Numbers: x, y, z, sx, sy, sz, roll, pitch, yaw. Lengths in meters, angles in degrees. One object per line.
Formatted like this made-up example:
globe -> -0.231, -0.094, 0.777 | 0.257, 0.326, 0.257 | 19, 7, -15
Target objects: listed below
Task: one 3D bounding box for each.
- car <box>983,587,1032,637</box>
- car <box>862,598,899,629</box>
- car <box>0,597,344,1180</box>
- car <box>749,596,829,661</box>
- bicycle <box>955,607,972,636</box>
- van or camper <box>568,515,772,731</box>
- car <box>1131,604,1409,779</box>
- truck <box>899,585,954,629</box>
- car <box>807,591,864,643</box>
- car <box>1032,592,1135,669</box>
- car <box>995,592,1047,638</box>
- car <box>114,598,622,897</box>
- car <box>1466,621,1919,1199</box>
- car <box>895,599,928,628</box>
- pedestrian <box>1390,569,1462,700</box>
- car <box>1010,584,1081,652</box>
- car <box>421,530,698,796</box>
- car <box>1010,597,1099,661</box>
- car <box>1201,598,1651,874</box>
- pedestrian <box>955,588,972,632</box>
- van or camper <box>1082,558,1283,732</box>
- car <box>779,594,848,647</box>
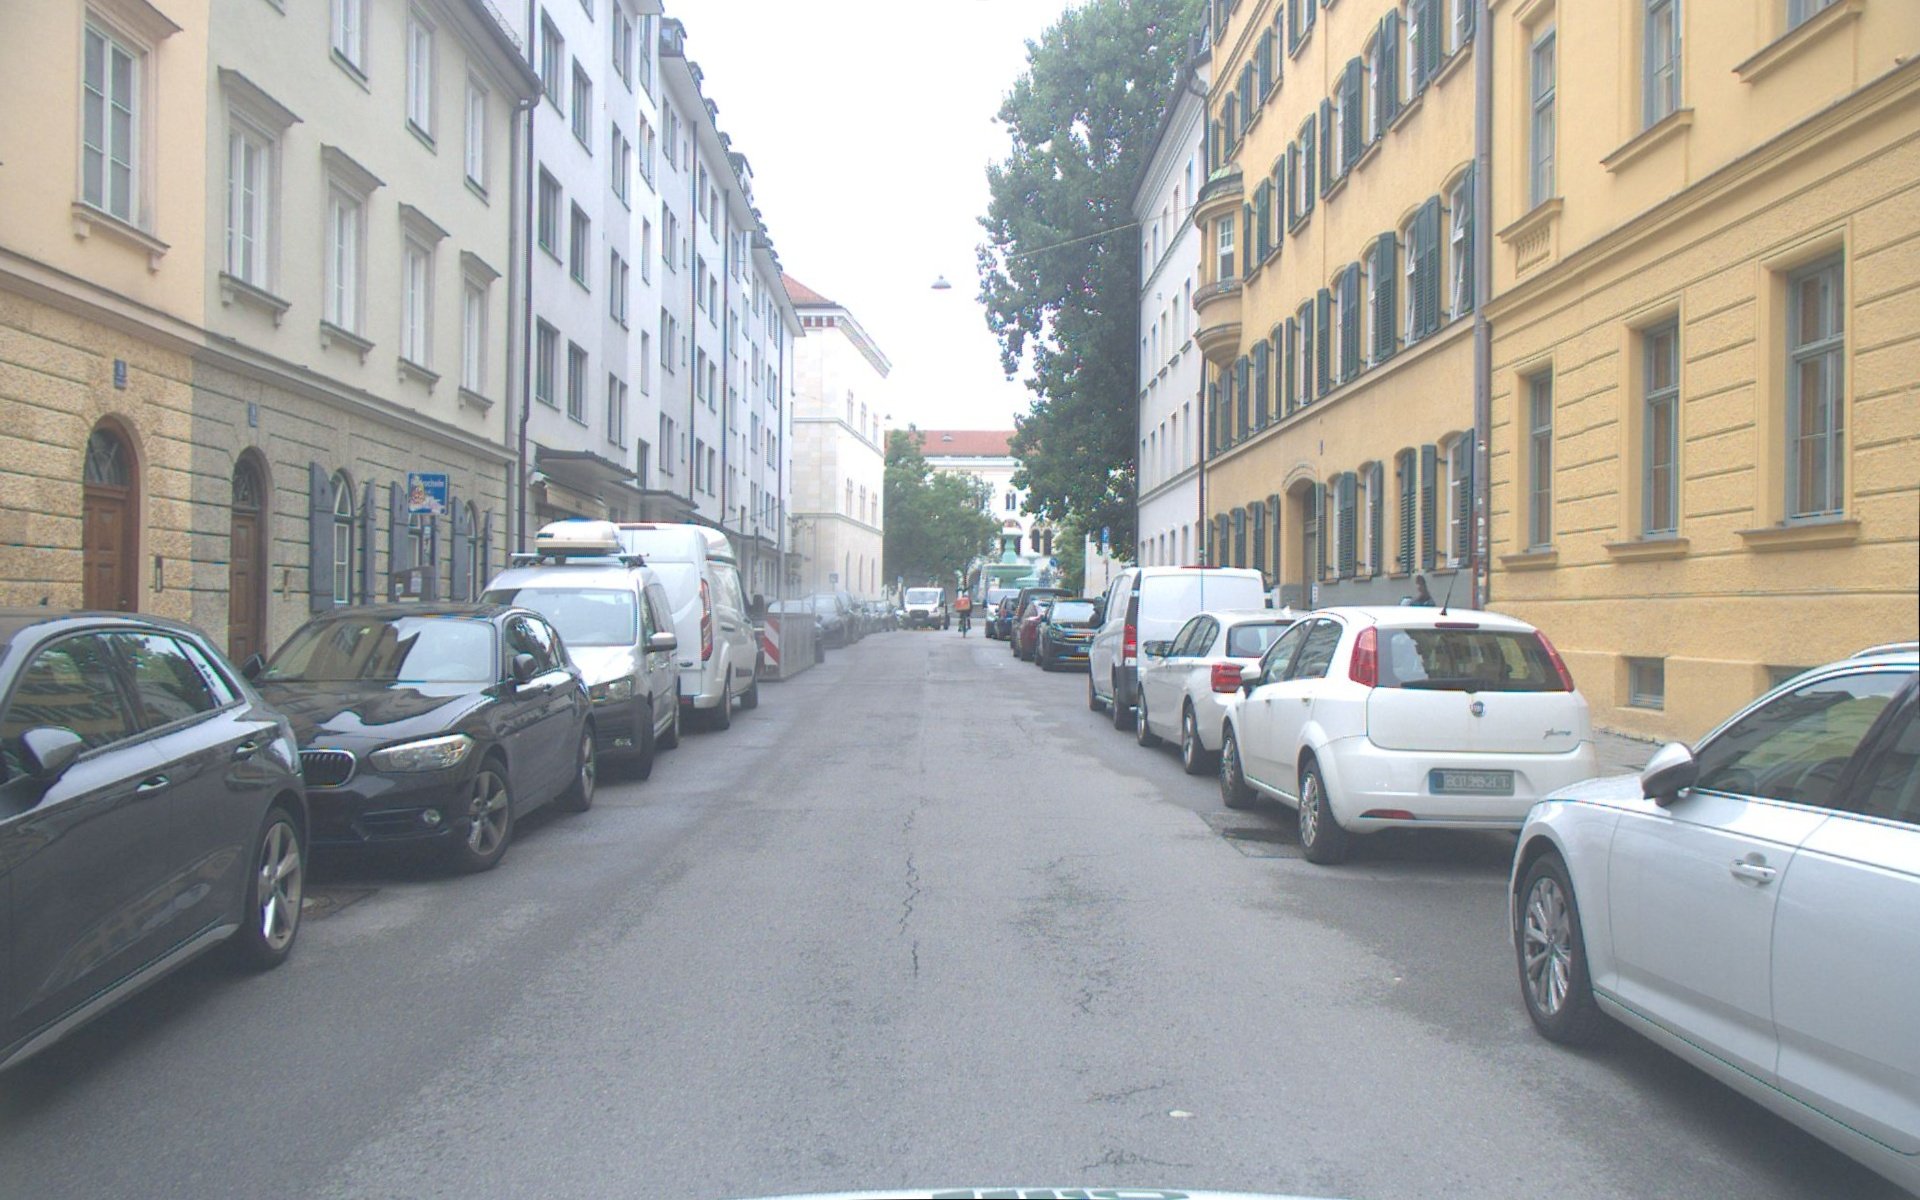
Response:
car -> 1.912, 0.501, 67.703 | 1.814, 1.953, 4.769 | 0, 0, 0
car -> -4.214, 0.729, 88.360 | 1.671, 1.609, 3.864 | 0, 0, 2
car -> -3.400, 0.742, 5.001 | 1.780, 1.467, 4.128 | 0, 0, -4
car -> -4.090, 0.644, 39.030 | 1.729, 1.435, 4.148 | 0, 0, -8
bicycle -> 0.137, 0.848, 65.442 | 0.661, 1.114, 1.760 | 0, -1, 0
van or camper -> -3.448, 0.258, 20.626 | 1.719, 2.321, 5.271 | 1, 0, -2
car -> 2.784, 0.765, 15.762 | 1.674, 1.417, 4.204 | 1, 0, -3
truck -> -1.756, 0.418, 89.303 | 2.076, 2.287, 6.189 | 0, -1, 7
car -> -4.068, 0.557, 54.370 | 1.672, 1.637, 3.861 | 0, 0, -1
car -> 2.576, 0.632, 35.408 | 1.775, 1.490, 4.246 | 2, 0, -1
car -> 2.239, 0.548, 61.756 | 1.774, 1.642, 4.155 | 0, 0, 0
car -> -3.294, 0.724, 10.101 | 1.719, 1.433, 4.101 | 1, 0, -2
car -> 2.938, 0.815, 4.388 | 1.673, 1.433, 4.814 | 1, 0, 0
car -> -2.843, 0.784, 96.951 | 1.671, 1.609, 3.864 | 0, 0, 2
pedestrian -> 5.893, 0.437, 20.933 | 0.647, 1.599, 0.642 | -2, -1, -1
car -> 2.423, 0.498, 47.846 | 1.775, 1.829, 4.246 | 2, 0, 0
car -> -3.453, 0.493, 15.103 | 1.720, 2.030, 4.621 | 1, 0, -5
car -> 2.280, 0.696, 40.908 | 1.775, 1.449, 4.245 | 2, 0, -2
car -> 2.841, 0.746, 11.047 | 1.674, 1.480, 4.094 | 1, 0, -3
pedestrian -> 0.135, 0.400, 65.474 | 0.629, 1.744, 0.842 | 0, -1, 0
van or camper -> 2.665, 0.495, 20.913 | 1.796, 1.904, 5.078 | 1, 0, 0
car -> -4.290, 0.584, 48.847 | 1.781, 1.470, 3.817 | 0, 0, -2
